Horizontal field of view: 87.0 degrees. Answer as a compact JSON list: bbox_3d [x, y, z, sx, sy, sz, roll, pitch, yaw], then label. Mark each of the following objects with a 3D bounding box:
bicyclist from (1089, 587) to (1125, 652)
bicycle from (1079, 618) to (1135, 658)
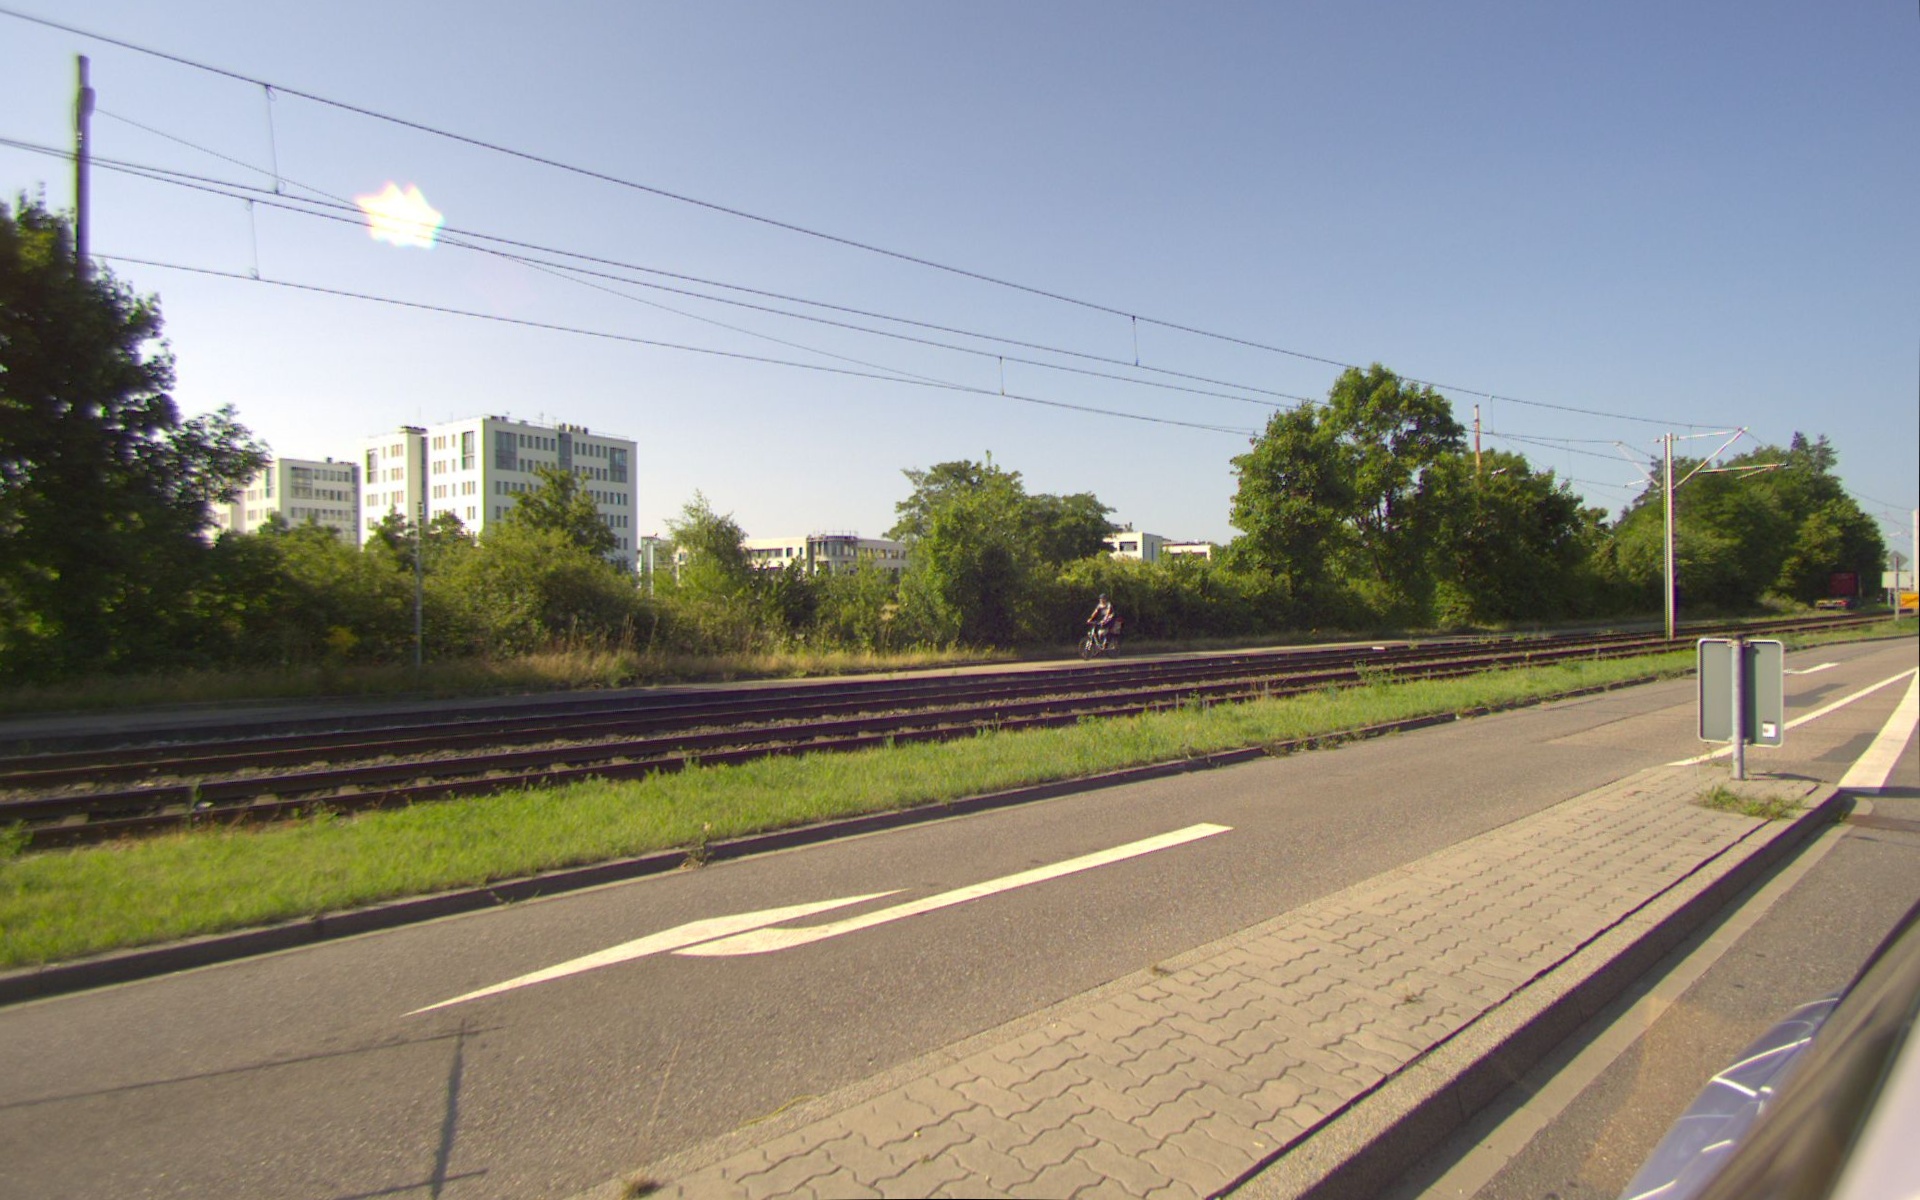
[{"bbox_3d":[4.188,0.547,28.772,0.705,1.831,0.707,0,-1,-42],"label":"bicyclist"},{"bbox_3d":[4.188,1.055,28.756,1.842,1.060,0.546,-1,0,-42],"label":"bicycle"}]
